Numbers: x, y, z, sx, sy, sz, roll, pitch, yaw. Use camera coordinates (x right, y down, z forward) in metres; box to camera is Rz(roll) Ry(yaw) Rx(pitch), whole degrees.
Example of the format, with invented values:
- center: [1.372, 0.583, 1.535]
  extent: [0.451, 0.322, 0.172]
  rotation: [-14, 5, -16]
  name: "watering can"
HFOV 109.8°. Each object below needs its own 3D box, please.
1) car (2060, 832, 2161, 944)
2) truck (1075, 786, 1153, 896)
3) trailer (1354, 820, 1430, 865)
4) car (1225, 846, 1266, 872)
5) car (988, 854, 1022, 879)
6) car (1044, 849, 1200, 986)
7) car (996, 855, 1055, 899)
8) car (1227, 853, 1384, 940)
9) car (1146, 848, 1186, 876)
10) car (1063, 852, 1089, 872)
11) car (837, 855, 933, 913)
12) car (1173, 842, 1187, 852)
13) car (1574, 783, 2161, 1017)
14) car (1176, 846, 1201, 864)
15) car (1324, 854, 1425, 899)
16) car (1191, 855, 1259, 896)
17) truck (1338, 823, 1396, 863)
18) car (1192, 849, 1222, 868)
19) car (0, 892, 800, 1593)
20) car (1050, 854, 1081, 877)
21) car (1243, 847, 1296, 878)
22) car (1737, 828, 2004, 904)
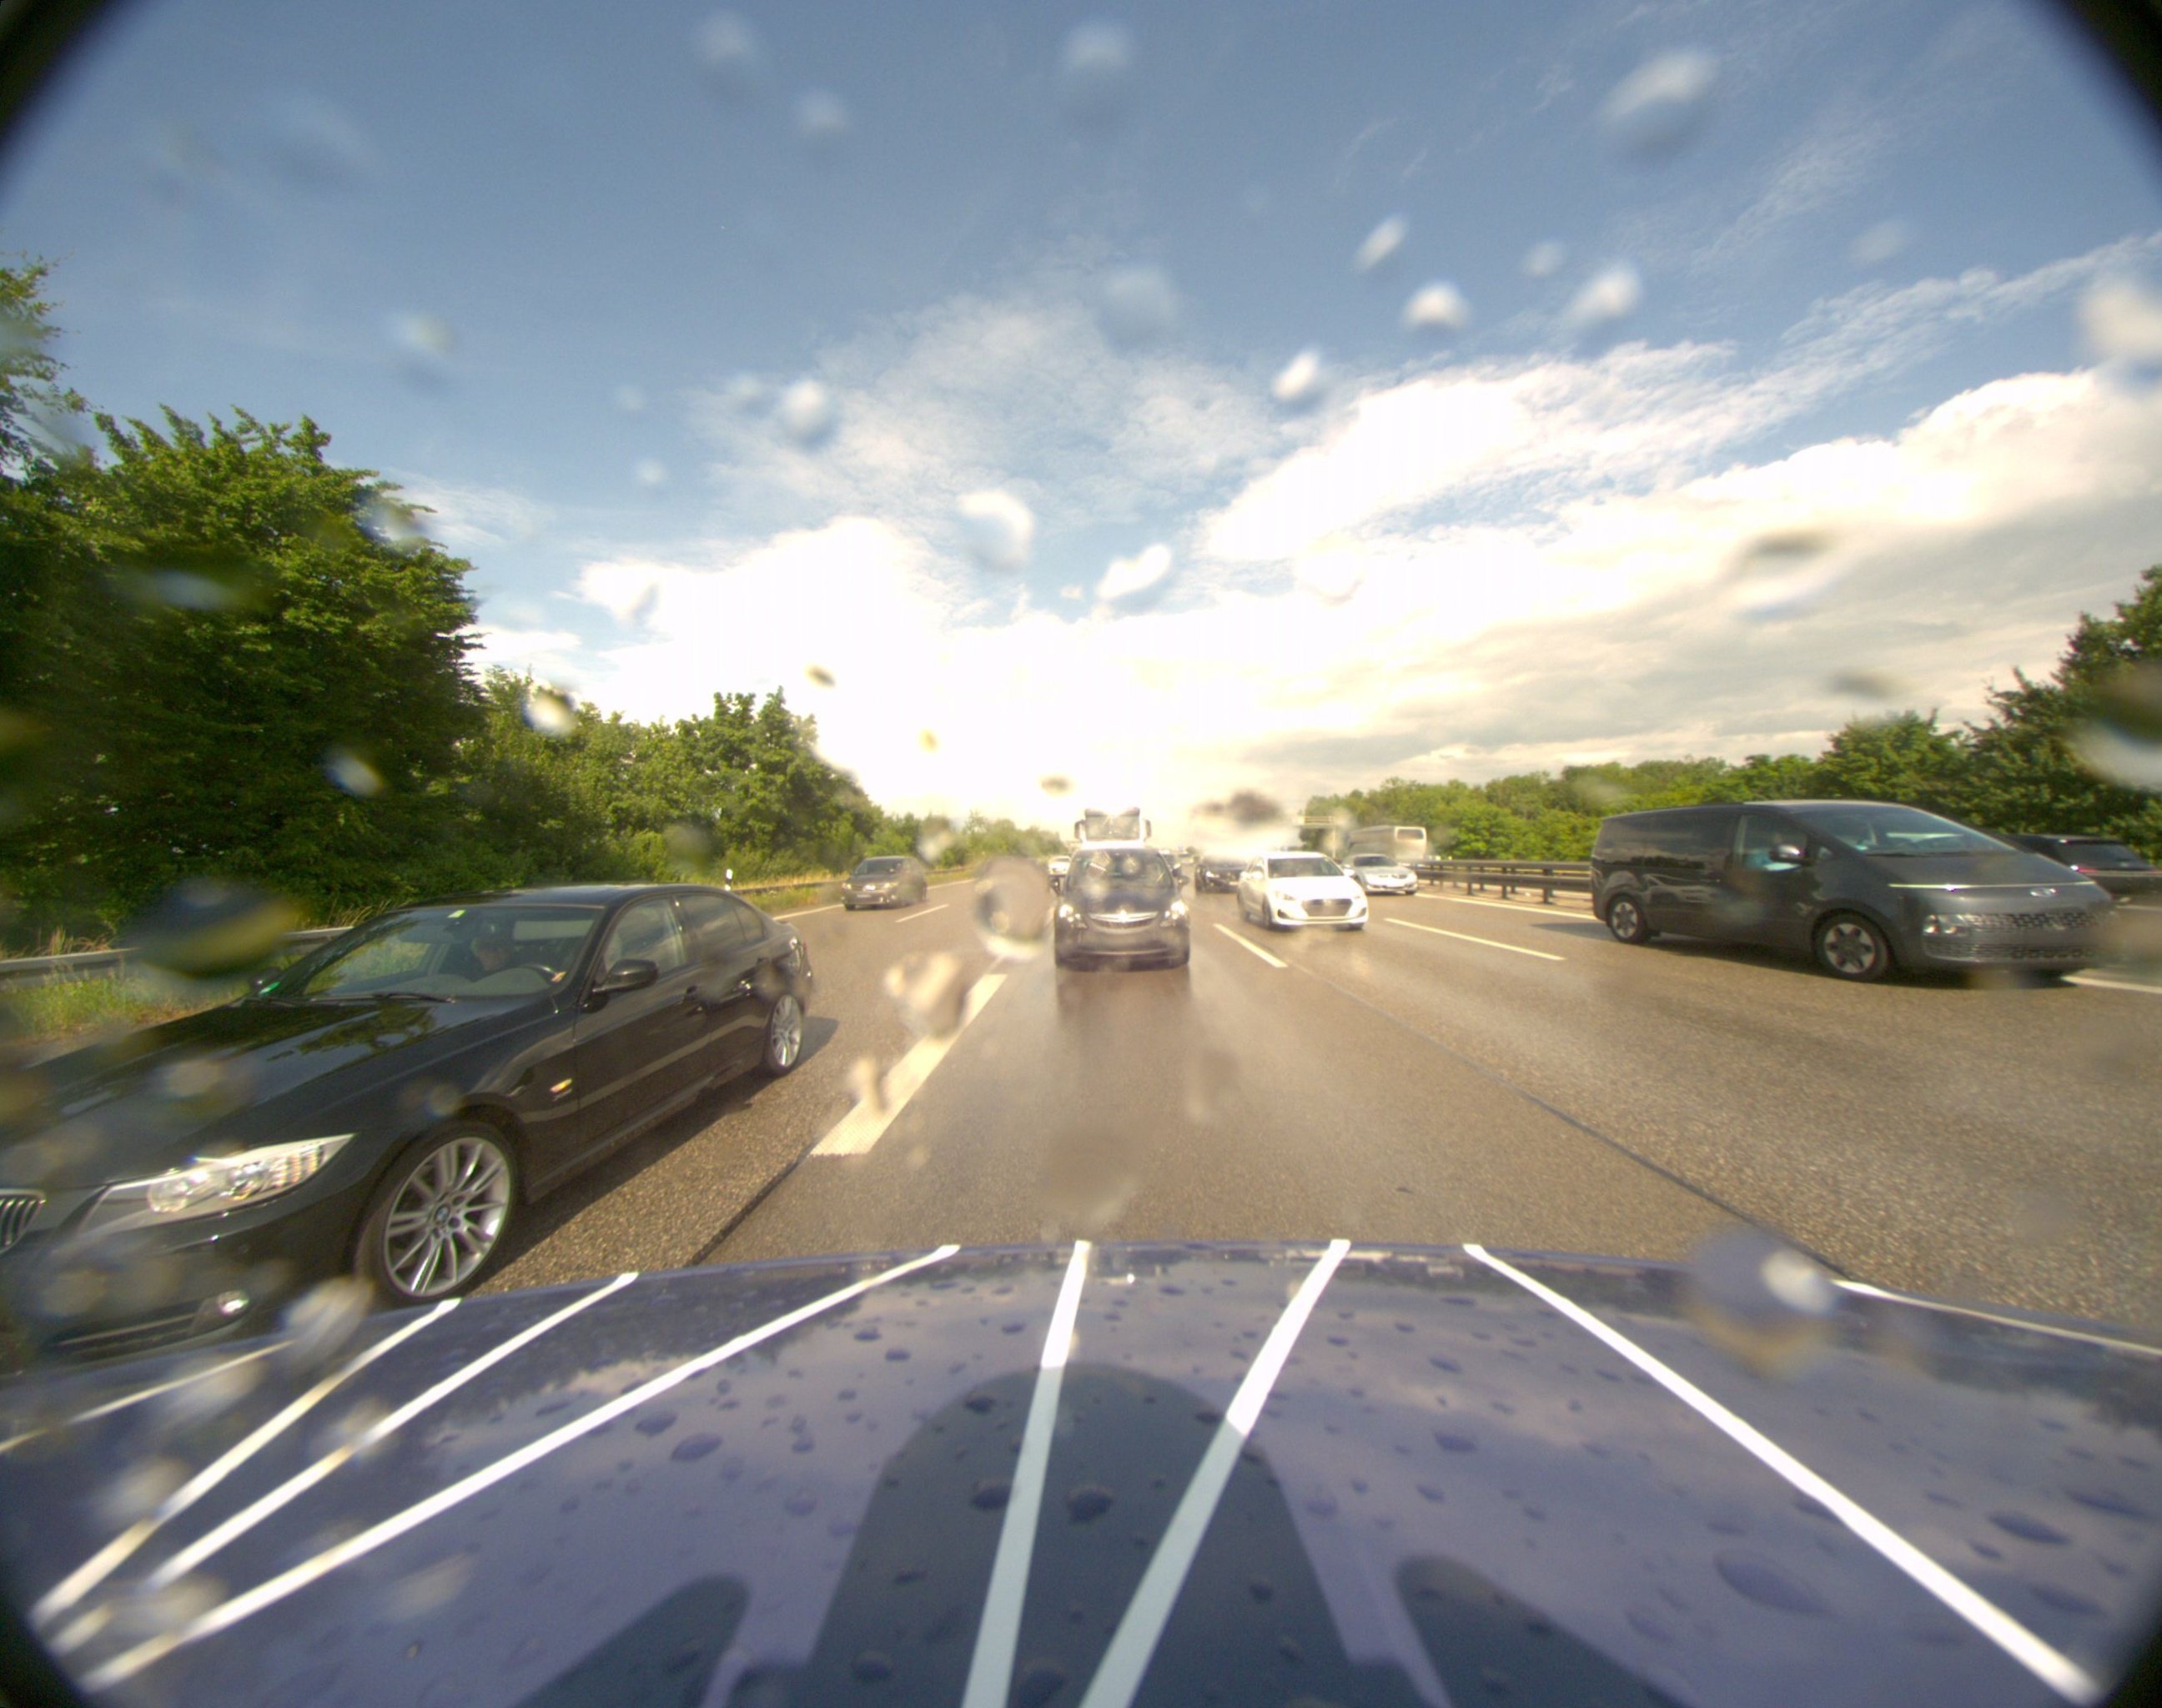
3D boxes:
- center: [16.492, 0.493, 10.017]
  extent: [1.998, 1.619, 3.999]
  rotation: [-1, 1, 0]
  name: "car"
- center: [1.429, -0.536, 32.552]
  extent: [2.817, 4.083, 7.446]
  rotation: [-2, 1, 3]
  name: "truck"
- center: [25.709, -0.923, 63.361]
  extent: [2.736, 3.362, 9.562]
  rotation: [-1, 0, 2]
  name: "trailer"
- center: [10.772, 0.273, 50.091]
  extent: [1.875, 1.597, 4.228]
  rotation: [-2, 1, 2]
  name: "car"
- center: [-5.095, 0.789, 51.285]
  extent: [1.853, 1.559, 4.000]
  rotation: [-1, 1, 1]
  name: "car"
- center: [0.539, 0.767, 11.522]
  extent: [1.883, 1.638, 4.396]
  rotation: [-1, 0, 1]
  name: "car"
- center: [-2.053, 0.827, 29.265]
  extent: [1.853, 1.455, 4.255]
  rotation: [-1, 1, 1]
  name: "car"
- center: [4.345, 0.744, 15.486]
  extent: [1.886, 1.446, 4.548]
  rotation: [-1, 0, 1]
  name: "car"
- center: [5.167, 0.473, 46.788]
  extent: [1.998, 1.478, 3.999]
  rotation: [-3, 1, 1]
  name: "car"
- center: [-0.400, 0.621, 62.938]
  extent: [1.998, 1.572, 4.653]
  rotation: [-1, 0, 1]
  name: "car"
- center: [-6.140, 0.879, 24.325]
  extent: [1.792, 1.603, 4.385]
  rotation: [-1, 0, 1]
  name: "car"
- center: [18.263, -1.282, 140.367]
  extent: [1.998, 1.768, 4.461]
  rotation: [-2, 0, 1]
  name: "car"
- center: [8.691, 0.383, 9.261]
  extent: [1.998, 2.002, 5.269]
  rotation: [-1, 0, 1]
  name: "car"
- center: [11.570, 0.096, 82.017]
  extent: [1.998, 1.739, 3.999]
  rotation: [-3, 1, 1]
  name: "car"
- center: [9.345, 0.657, 24.568]
  extent: [1.729, 1.270, 4.063]
  rotation: [-1, 0, 1]
  name: "car"
- center: [5.212, 0.727, 27.964]
  extent: [1.729, 1.330, 4.287]
  rotation: [-1, 0, 1]
  name: "car"
- center: [25.962, -0.980, 69.370]
  extent: [2.736, 3.362, 7.593]
  rotation: [-1, 0, 2]
  name: "truck"
- center: [10.298, 0.355, 62.342]
  extent: [1.771, 1.371, 3.999]
  rotation: [-1, 1, 1]
  name: "car"
- center: [-2.988, 1.020, 3.686]
  extent: [1.744, 1.412, 3.835]
  rotation: [-1, 0, 1]
  name: "car"
- center: [-1.025, 0.762, 52.758]
  extent: [1.831, 1.417, 4.511]
  rotation: [-2, 1, 2]
  name: "car"
- center: [9.516, 0.368, 38.716]
  extent: [1.771, 1.417, 4.138]
  rotation: [-2, 1, 2]
  name: "car"
- center: [20.540, 0.264, 20.188]
  extent: [1.998, 1.723, 4.945]
  rotation: [-1, 0, 1]
  name: "car"
